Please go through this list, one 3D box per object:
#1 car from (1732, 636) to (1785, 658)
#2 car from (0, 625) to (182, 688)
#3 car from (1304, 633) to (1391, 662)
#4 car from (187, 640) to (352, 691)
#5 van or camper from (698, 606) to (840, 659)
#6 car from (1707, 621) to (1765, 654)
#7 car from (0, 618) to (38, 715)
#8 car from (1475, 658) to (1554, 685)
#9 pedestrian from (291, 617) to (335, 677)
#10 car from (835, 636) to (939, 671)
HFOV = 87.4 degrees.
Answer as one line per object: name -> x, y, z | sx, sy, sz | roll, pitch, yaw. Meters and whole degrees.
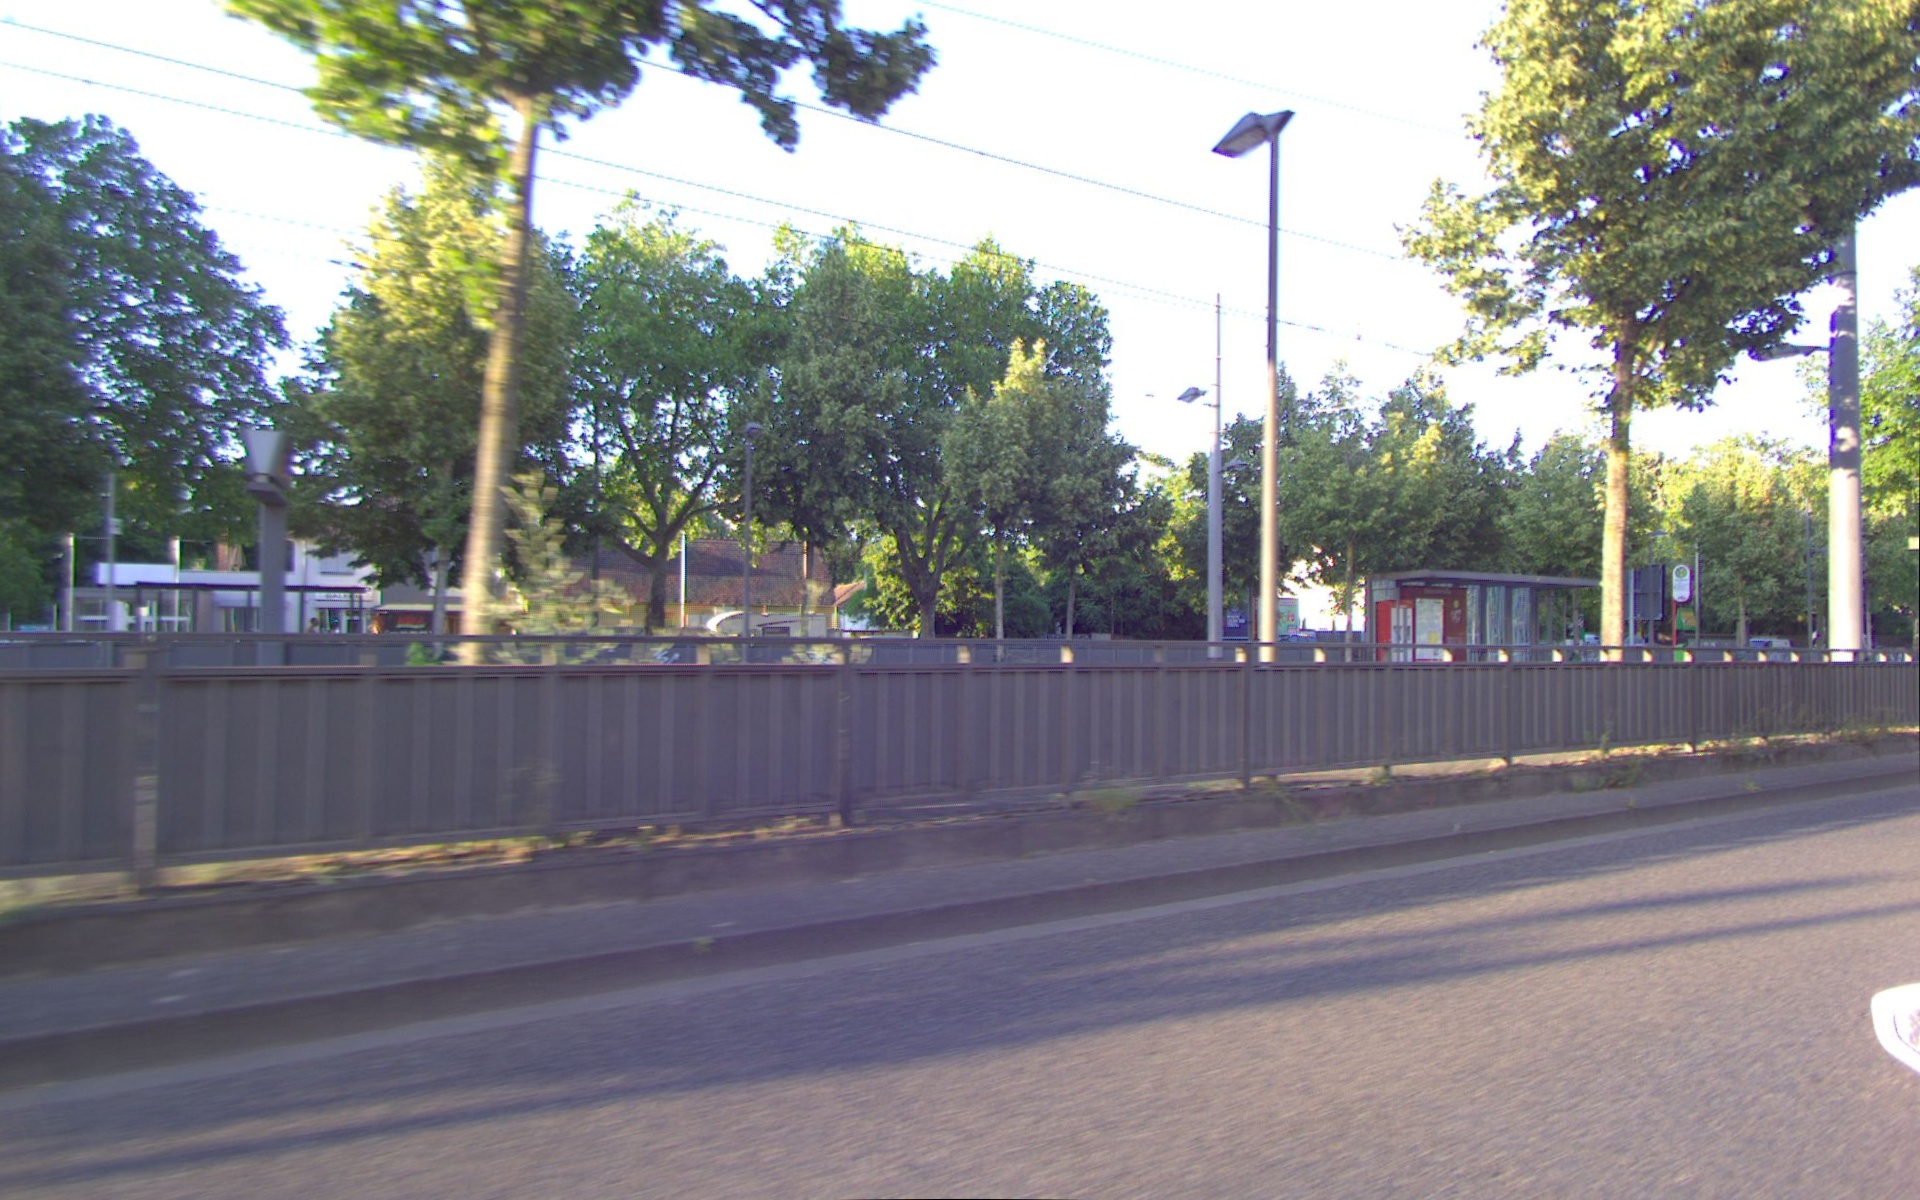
car -> 68.111, 4.025, 85.684 | 4.164, 1.839, 1.901 | 2, -3, -26
car -> -27.162, 1.740, 31.318 | 4.187, 1.870, 1.988 | 1, -2, -25
car -> 20.370, 2.499, 52.813 | 4.187, 1.484, 1.988 | 2, -2, -25
car -> -22.754, 2.141, 33.307 | 4.187, 1.598, 1.988 | 2, -2, -25
van or camper -> -9.304, 1.648, 48.983 | 6.492, 2.441, 2.252 | 2, -3, -24
car -> 53.800, 2.619, 69.629 | 3.951, 2.213, 1.768 | 1, -2, -29
car -> -19.649, 1.177, 17.830 | 4.498, 1.750, 1.846 | 2, -2, -32
car -> 32.430, 4.184, 58.779 | 4.187, 1.484, 1.988 | 2, -2, -25
pedestrian -> -19.310, 1.404, 30.002 | 0.707, 1.777, 0.897 | 1, -2, -3
car -> -3.230, 2.364, 44.450 | 4.187, 1.484, 1.988 | 1, -2, -25
